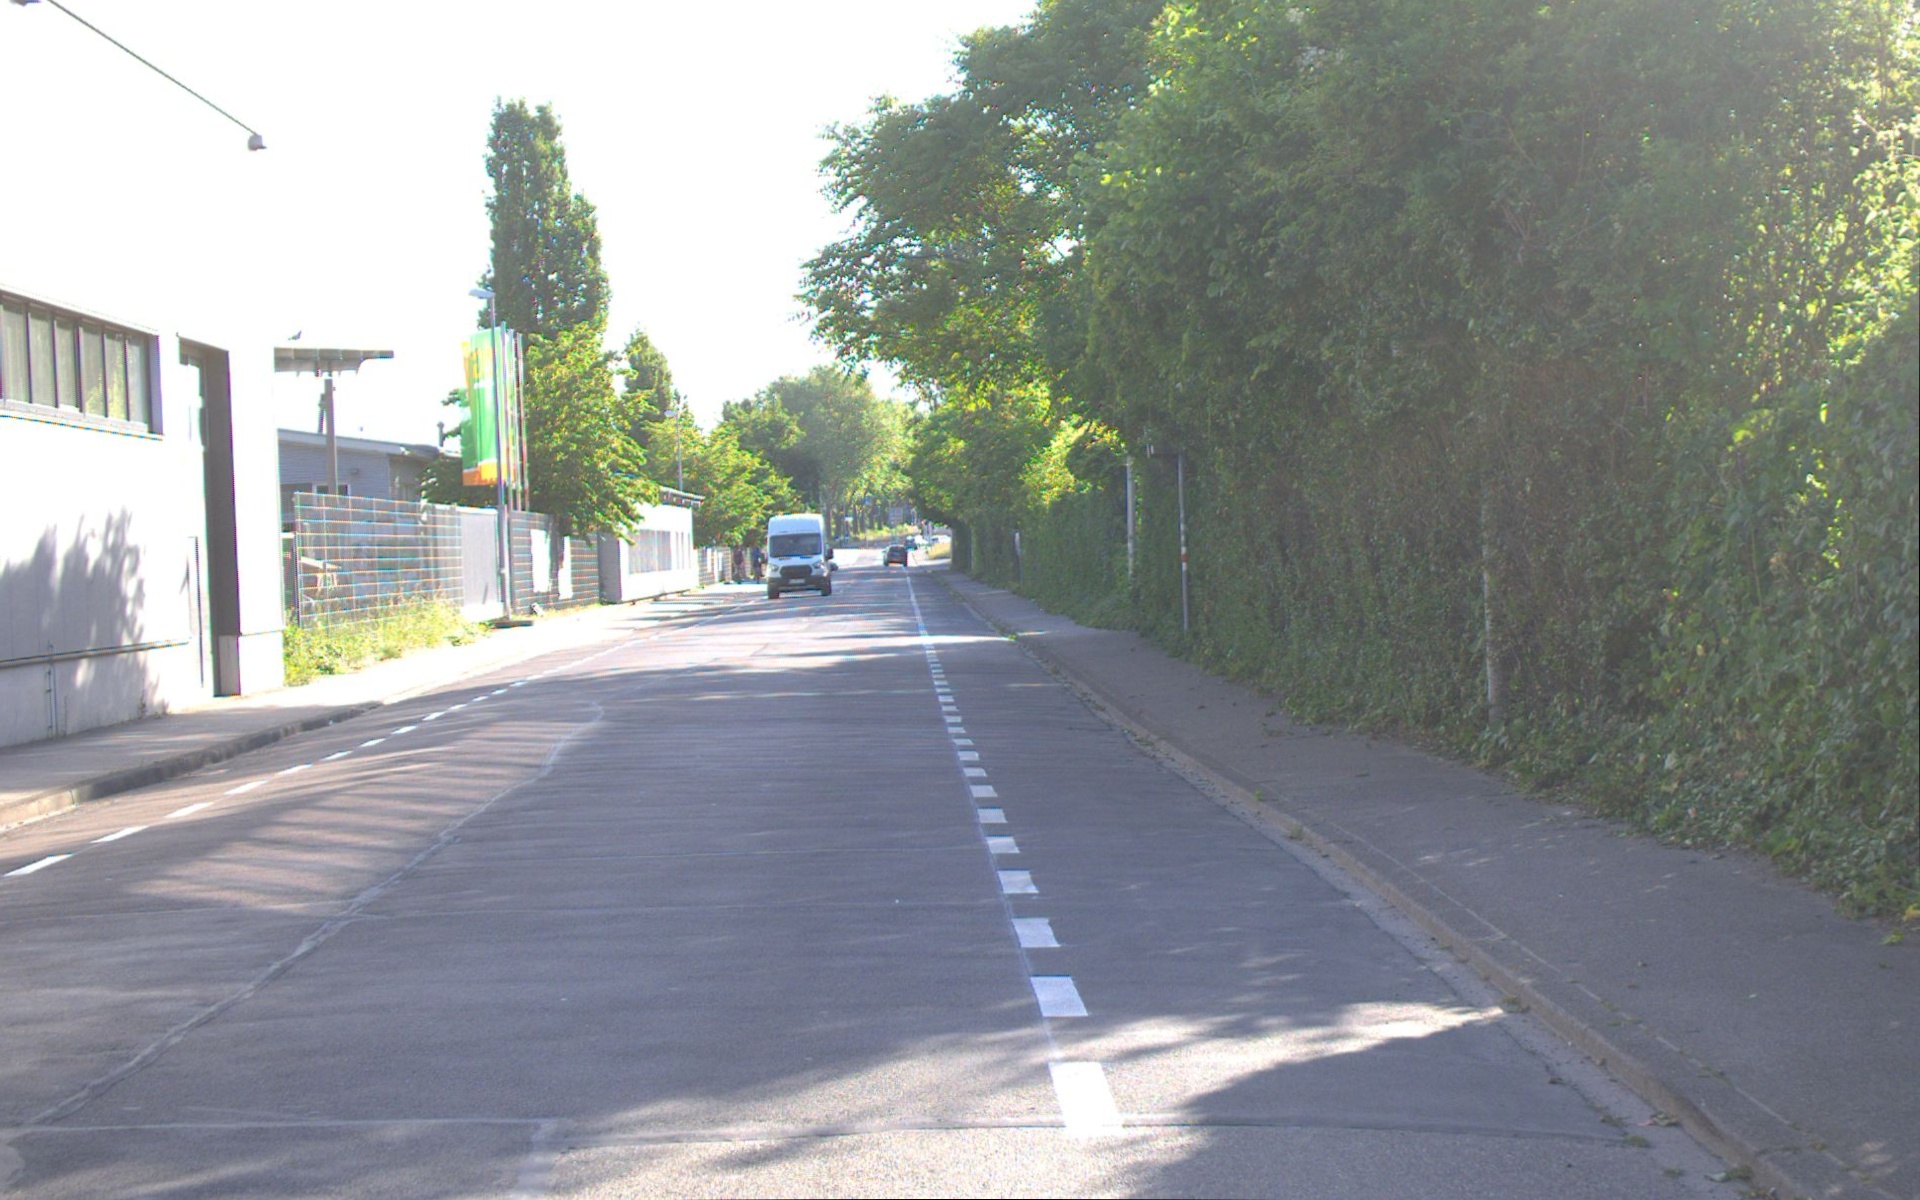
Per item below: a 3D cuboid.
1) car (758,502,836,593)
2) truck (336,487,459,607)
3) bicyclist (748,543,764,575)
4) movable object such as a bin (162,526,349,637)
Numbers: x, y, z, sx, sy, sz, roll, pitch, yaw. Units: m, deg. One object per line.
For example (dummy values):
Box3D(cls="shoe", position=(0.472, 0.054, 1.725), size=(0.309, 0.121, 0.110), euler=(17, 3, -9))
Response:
Box3D(cls="car", position=(-5.379, -1.751, 114.231), size=(2.123, 2.771, 5.927), euler=(-5, 1, 0))
Box3D(cls="truck", position=(-13.907, -1.355, 85.318), size=(2.078, 2.752, 5.766), euler=(-3, 2, -1))
Box3D(cls="bicyclist", position=(-9.775, -1.955, 164.790), size=(0.689, 1.526, 0.722), euler=(-1, 1, -1))
Box3D(cls="movable object such as a bin", position=(-12.805, -0.354, 62.610), size=(3.038, 1.829, 1.526), euler=(-3, 2, -2))
